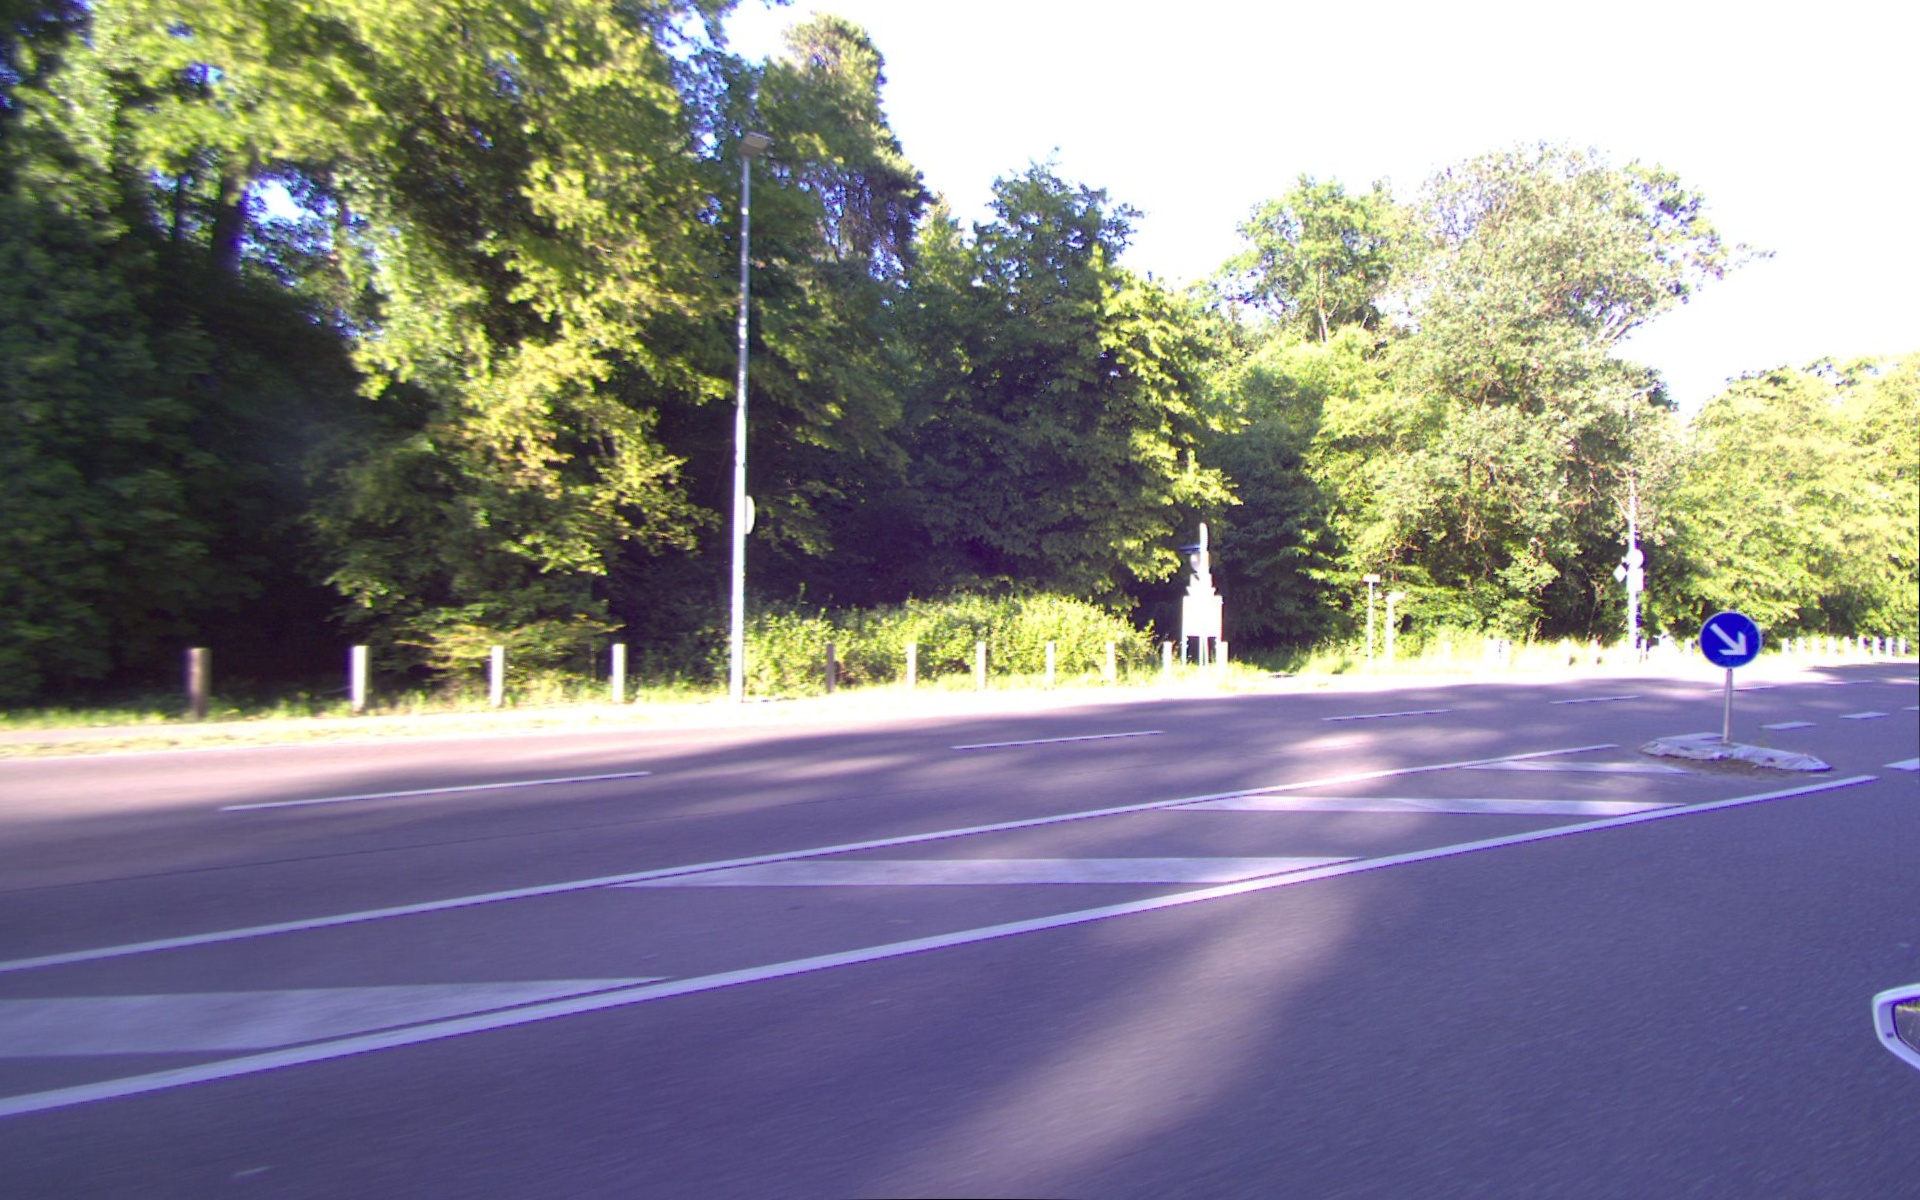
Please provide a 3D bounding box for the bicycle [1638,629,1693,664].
[{"bbox_3d":[24.021,1.584,34.173,2.188,1.147,0.400,2,1,-23],"label":"bicycle"}]
